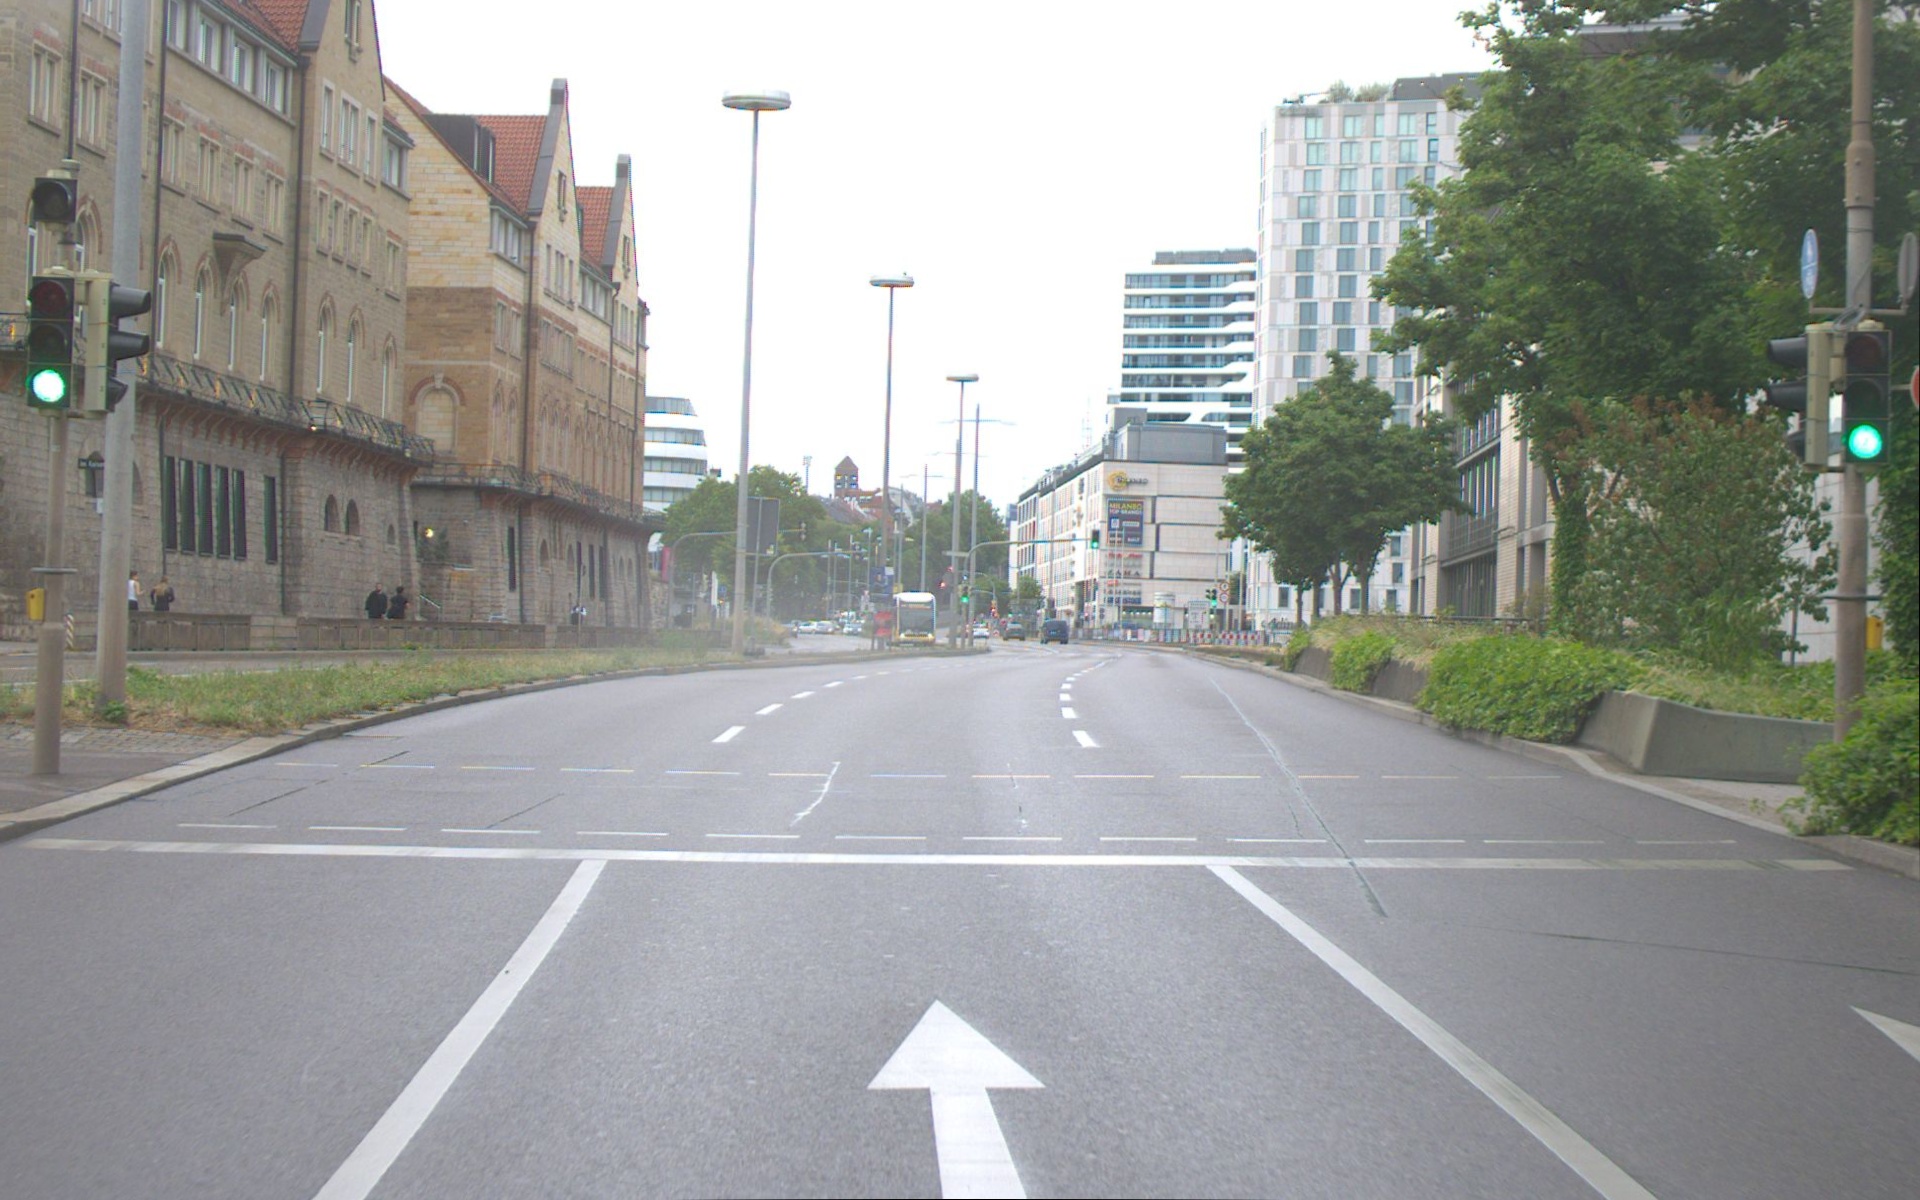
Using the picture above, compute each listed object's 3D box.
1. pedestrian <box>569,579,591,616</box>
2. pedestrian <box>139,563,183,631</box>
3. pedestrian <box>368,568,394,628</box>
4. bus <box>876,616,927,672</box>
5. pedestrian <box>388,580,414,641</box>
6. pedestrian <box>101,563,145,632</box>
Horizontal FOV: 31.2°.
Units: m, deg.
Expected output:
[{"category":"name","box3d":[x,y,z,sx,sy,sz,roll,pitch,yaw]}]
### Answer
[{"category":"pedestrian","box3d":[-14.954,-0.103,135.181,0.754,1.473,0.714,1,1,2]},{"category":"pedestrian","box3d":[-17.428,-0.070,74.990,0.754,1.473,0.714,1,1,2]},{"category":"pedestrian","box3d":[-16.864,-0.050,100.155,0.640,1.740,0.621,0,1,1]},{"category":"bus","box3d":[-3.746,2.904,223.594,2.698,3.547,10.092,1,-1,3]},{"category":"pedestrian","box3d":[-16.179,0.298,99.472,0.640,1.740,0.621,0,1,1]},{"category":"pedestrian","box3d":[-18.266,-0.058,75.044,0.754,1.473,0.714,1,1,2]}]
